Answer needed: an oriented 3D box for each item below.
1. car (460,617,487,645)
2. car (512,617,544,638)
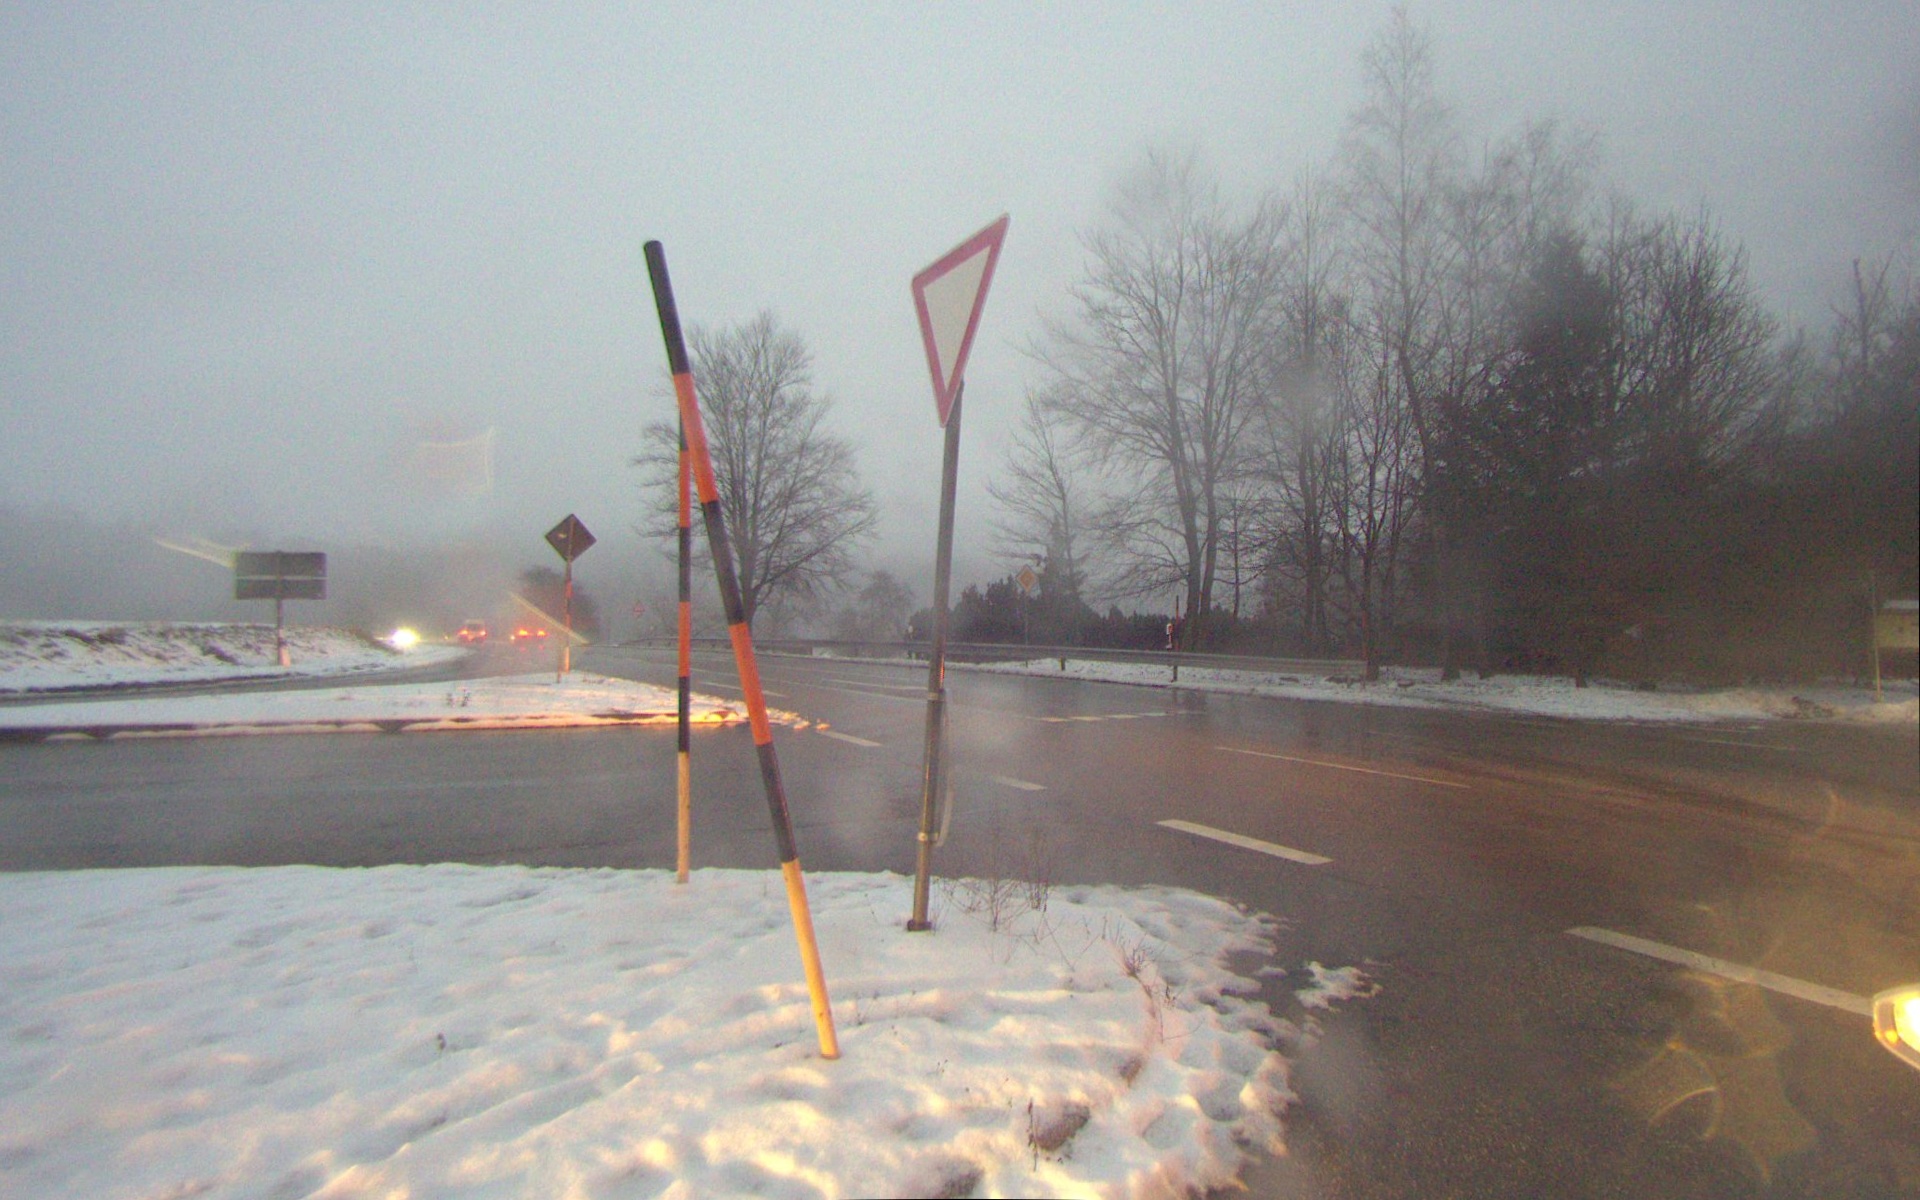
[{"bbox_3d":[-54.334,3.443,112.137,2.129,2.731,5.483,3,0,-31],"label":"car"},{"bbox_3d":[-33.447,2.131,77.723,1.679,1.572,3.822,3,-2,-32],"label":"car"}]
